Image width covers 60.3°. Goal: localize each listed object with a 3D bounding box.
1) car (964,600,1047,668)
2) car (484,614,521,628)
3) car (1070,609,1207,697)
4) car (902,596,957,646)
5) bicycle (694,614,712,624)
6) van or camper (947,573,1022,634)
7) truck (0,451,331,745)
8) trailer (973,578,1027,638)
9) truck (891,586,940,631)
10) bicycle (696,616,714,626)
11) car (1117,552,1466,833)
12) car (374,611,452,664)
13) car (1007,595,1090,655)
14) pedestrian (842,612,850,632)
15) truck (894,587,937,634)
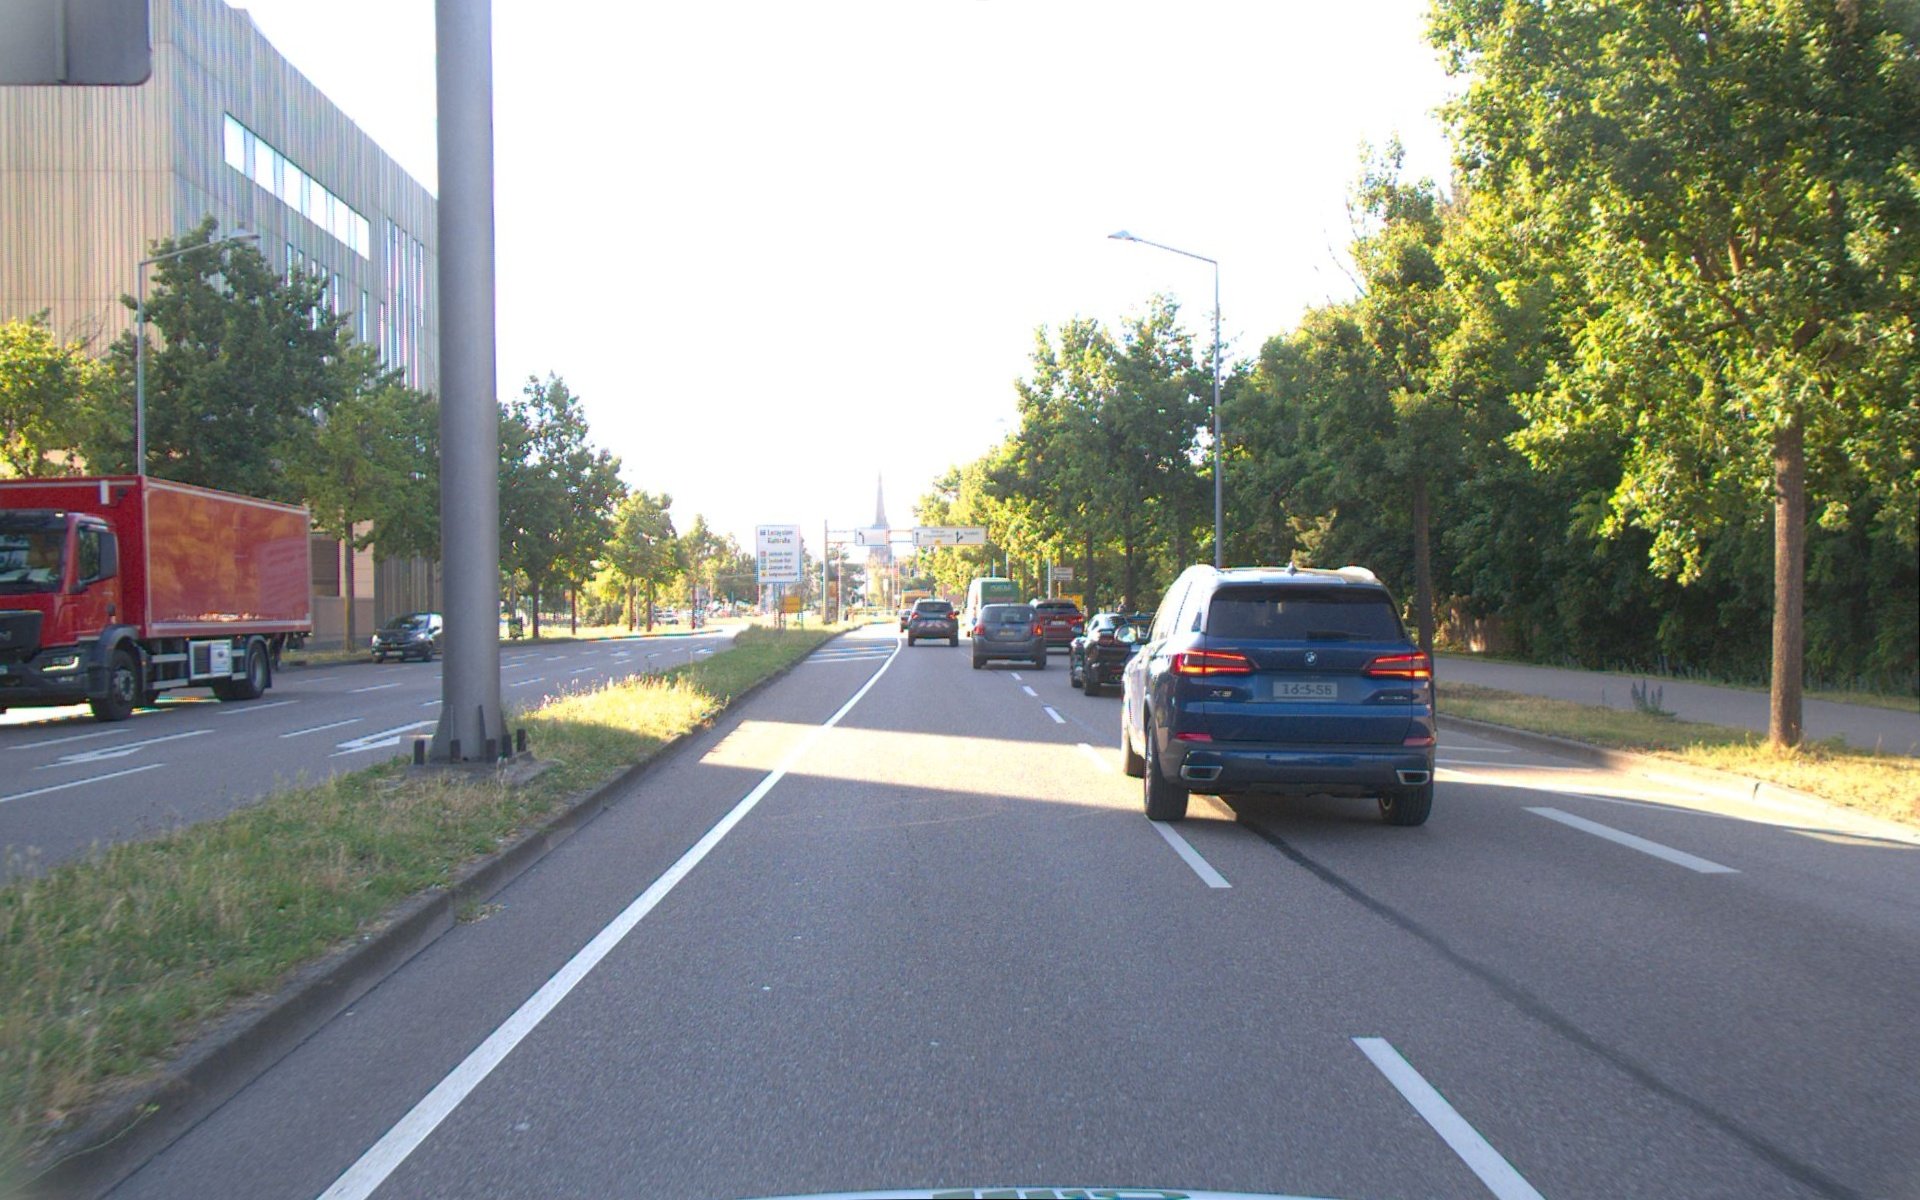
[{"bbox_3d":[1.016,0.767,38.865,1.712,1.499,3.818,-1,0,-2],"label":"car"},{"bbox_3d":[-51.965,2.361,187.961,1.844,1.534,3.683,-1,0,44],"label":"car"},{"bbox_3d":[2.926,0.832,28.024,1.816,1.361,4.625,0,0,0],"label":"car"},{"bbox_3d":[-1.101,0.744,58.898,1.867,1.689,3.998,-1,-1,-2],"label":"car"},{"bbox_3d":[-27.646,2.070,177.782,1.867,1.037,0.505,0,-1,12],"label":"bicycle"},{"bbox_3d":[1.075,0.176,76.184,2.243,2.675,6.566,0,0,-10],"label":"van or camper"},{"bbox_3d":[-13.353,-0.014,26.897,2.939,3.878,10.081,-1,0,-4],"label":"truck"},{"bbox_3d":[1.679,0.349,70.307,2.048,2.442,3.499,1,0,-3],"label":"trailer"},{"bbox_3d":[-2.700,0.508,99.267,2.530,2.603,6.244,-1,0,-5],"label":"truck"},{"bbox_3d":[-27.573,2.234,178.962,1.868,1.037,0.504,0,-1,4],"label":"bicycle"},{"bbox_3d":[2.308,0.614,12.765,1.914,1.757,4.700,0,-1,2],"label":"car"},{"bbox_3d":[-16.823,1.119,51.032,1.565,1.539,3.861,-1,0,-7],"label":"car"},{"bbox_3d":[2.593,0.722,49.350,1.715,1.649,3.812,2,0,-8],"label":"car"},{"bbox_3d":[-12.196,2.331,176.307,0.774,2.049,0.700,-1,0,-9],"label":"pedestrian"},{"bbox_3d":[-2.630,0.635,98.398,2.173,2.697,4.775,-1,0,3],"label":"truck"}]
